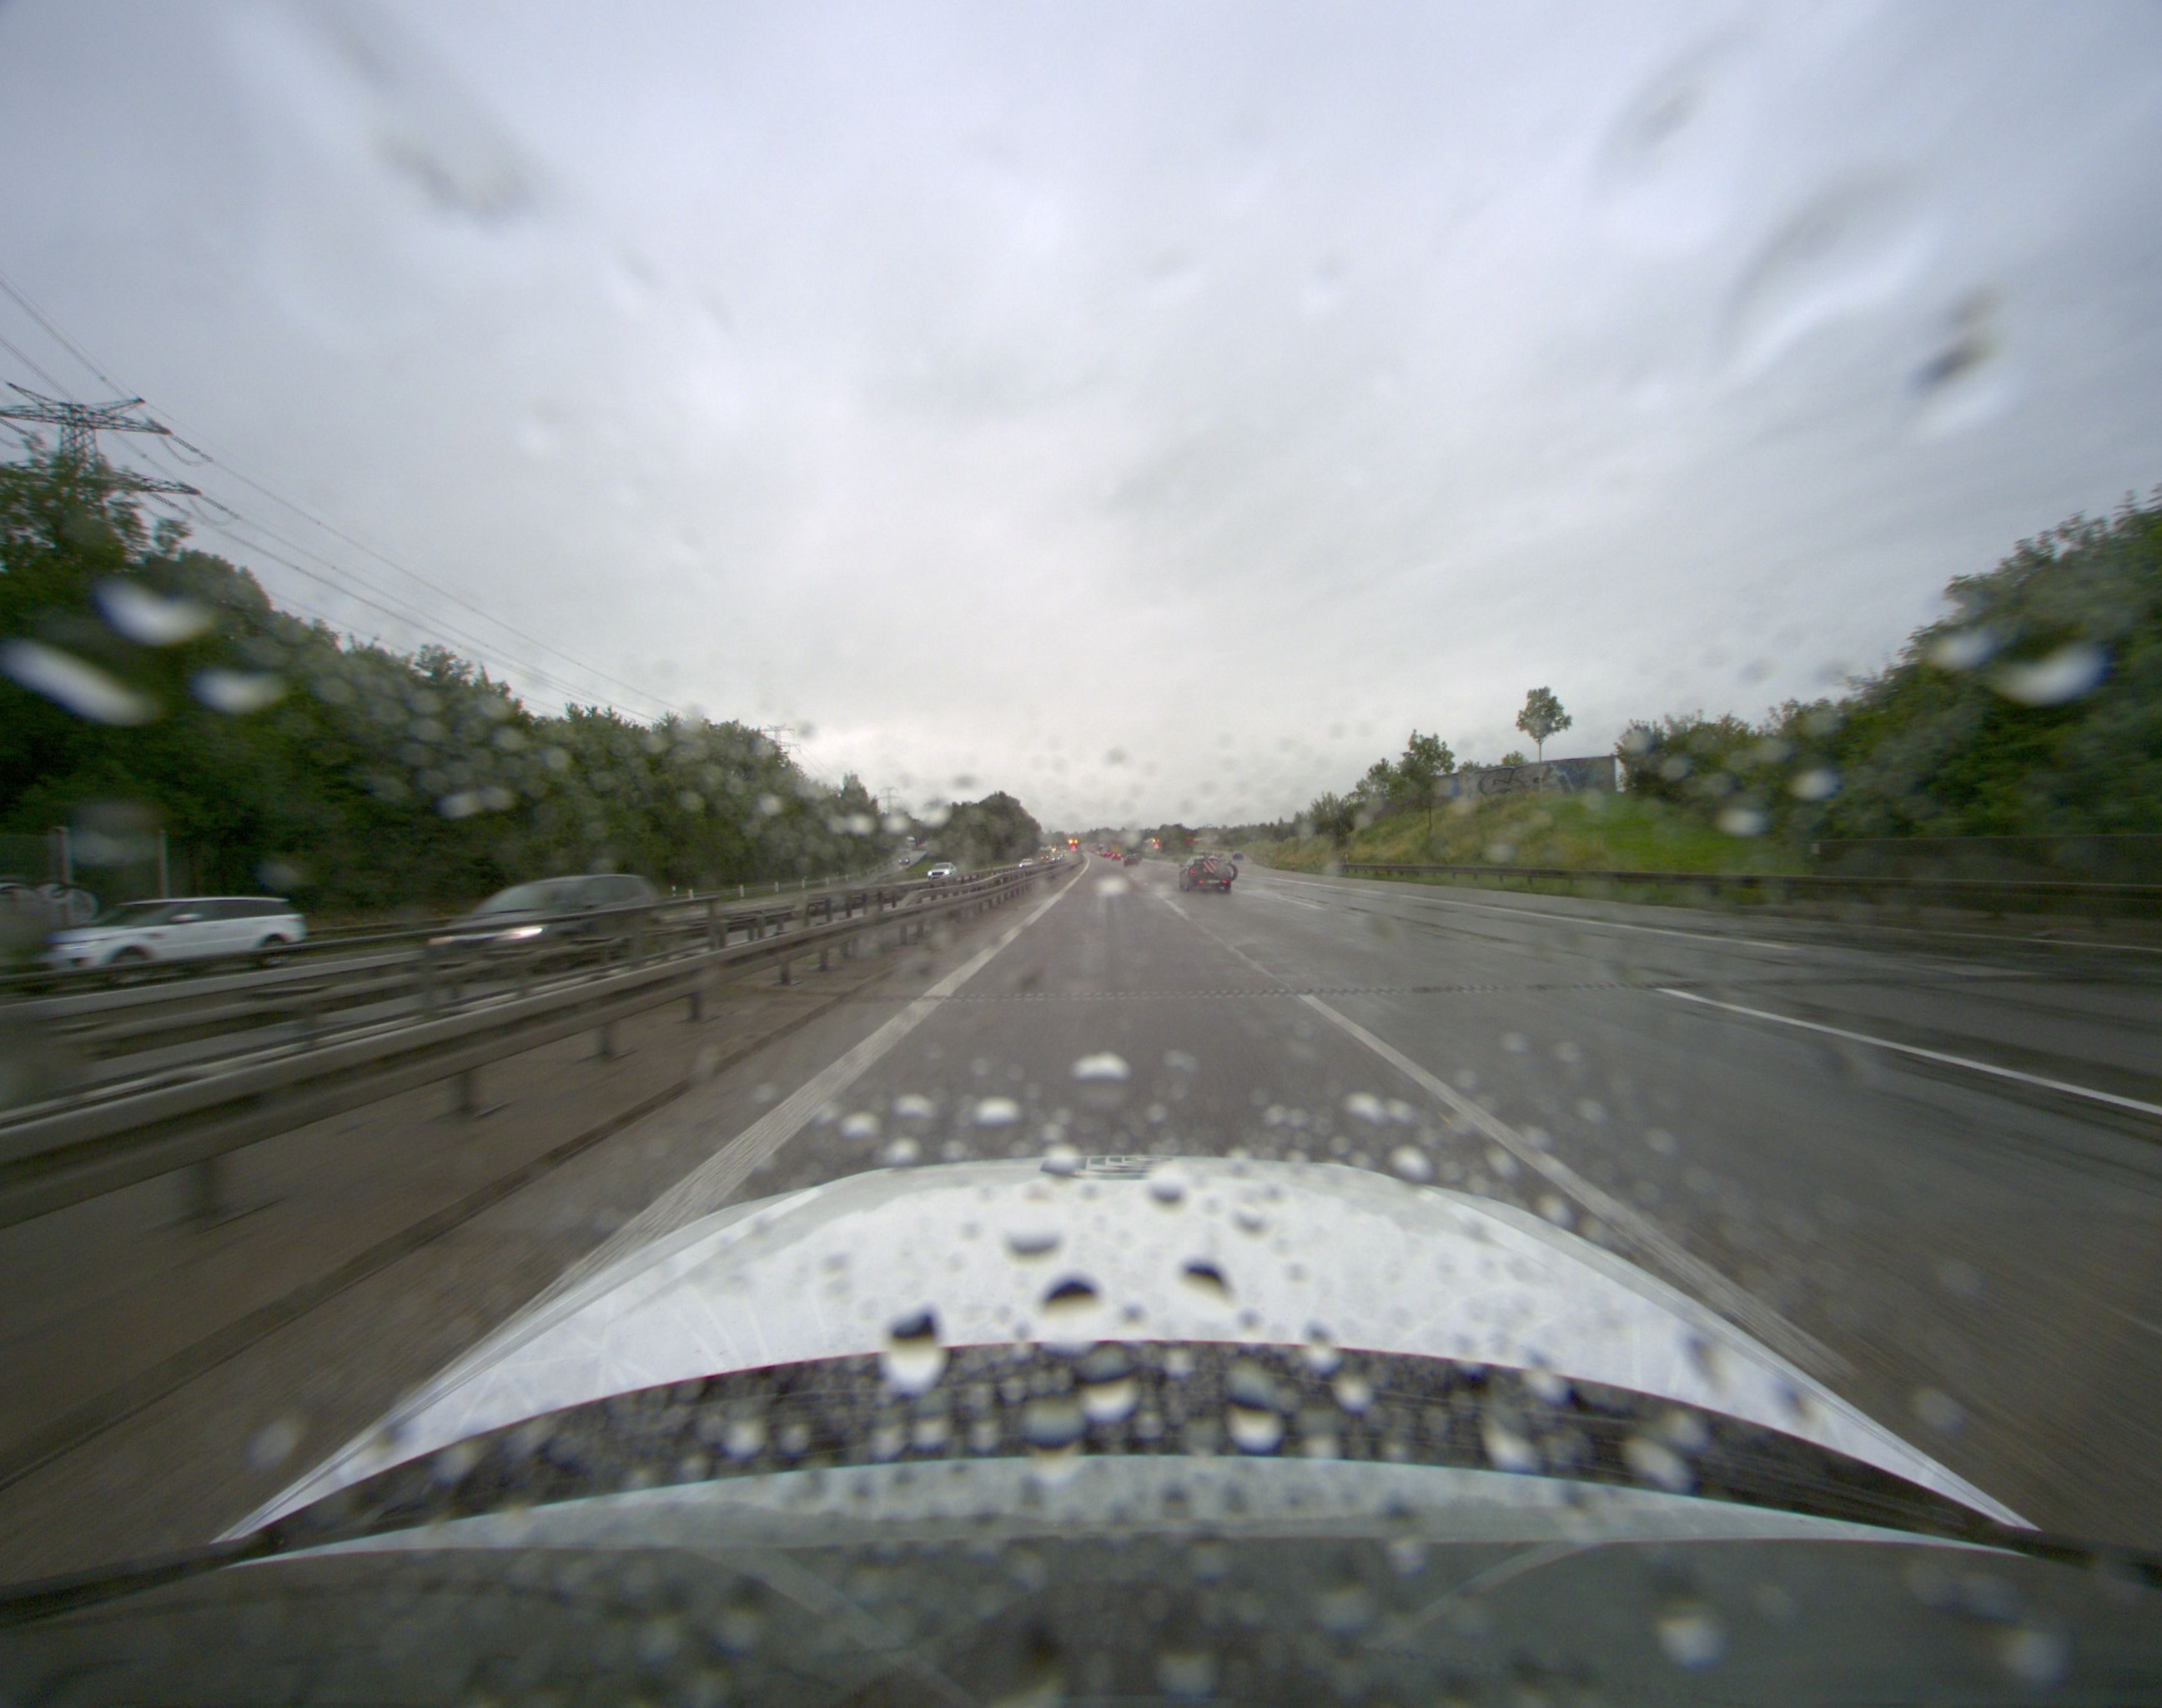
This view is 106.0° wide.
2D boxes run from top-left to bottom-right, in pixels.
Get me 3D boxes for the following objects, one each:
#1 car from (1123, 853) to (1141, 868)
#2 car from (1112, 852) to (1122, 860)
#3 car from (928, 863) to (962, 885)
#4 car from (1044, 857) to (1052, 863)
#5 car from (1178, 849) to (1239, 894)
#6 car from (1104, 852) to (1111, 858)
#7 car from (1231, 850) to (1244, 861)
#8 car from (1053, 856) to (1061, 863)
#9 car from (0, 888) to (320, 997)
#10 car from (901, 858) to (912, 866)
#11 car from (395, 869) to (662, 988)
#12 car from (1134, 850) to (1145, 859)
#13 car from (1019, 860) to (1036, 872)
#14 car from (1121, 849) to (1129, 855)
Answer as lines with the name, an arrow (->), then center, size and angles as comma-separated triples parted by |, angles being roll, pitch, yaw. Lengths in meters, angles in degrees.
car -> 6.413, 0.825, 102.605 | 1.987, 1.761, 3.999 | -3, 0, 0
car -> 7.546, 0.383, 171.496 | 1.987, 1.628, 3.999 | -3, 0, 0
car -> -11.431, 1.621, 68.618 | 1.898, 1.665, 4.715 | -3, 0, 1
car -> -9.732, 1.732, 239.130 | 1.816, 1.623, 4.791 | -3, 0, 1
car -> 5.260, 0.711, 34.180 | 2.048, 1.671, 5.527 | -1, -1, 4
car -> 7.386, 0.300, 227.783 | 1.987, 1.628, 3.999 | -3, 0, 0
car -> 26.437, 0.251, 137.734 | 1.912, 1.709, 4.008 | -3, 0, 7
car -> -5.922, 1.299, 202.945 | 1.816, 1.512, 4.791 | -3, 0, 1
car -> -20.320, 1.821, 18.169 | 1.942, 1.819, 4.917 | -3, 0, 1
car -> -34.026, 1.569, 158.969 | 1.968, 1.543, 3.986 | -3, 0, -10
car -> -9.161, 1.134, 13.960 | 1.822, 1.594, 3.816 | -3, 0, 1
car -> 11.430, 0.104, 159.590 | 1.987, 1.761, 3.999 | -1, 0, 0
car -> -7.219, 1.568, 109.691 | 1.751, 1.461, 4.763 | -4, 0, 1
car -> 12.688, -0.483, 234.034 | 1.987, 1.628, 3.999 | -3, 0, 0
